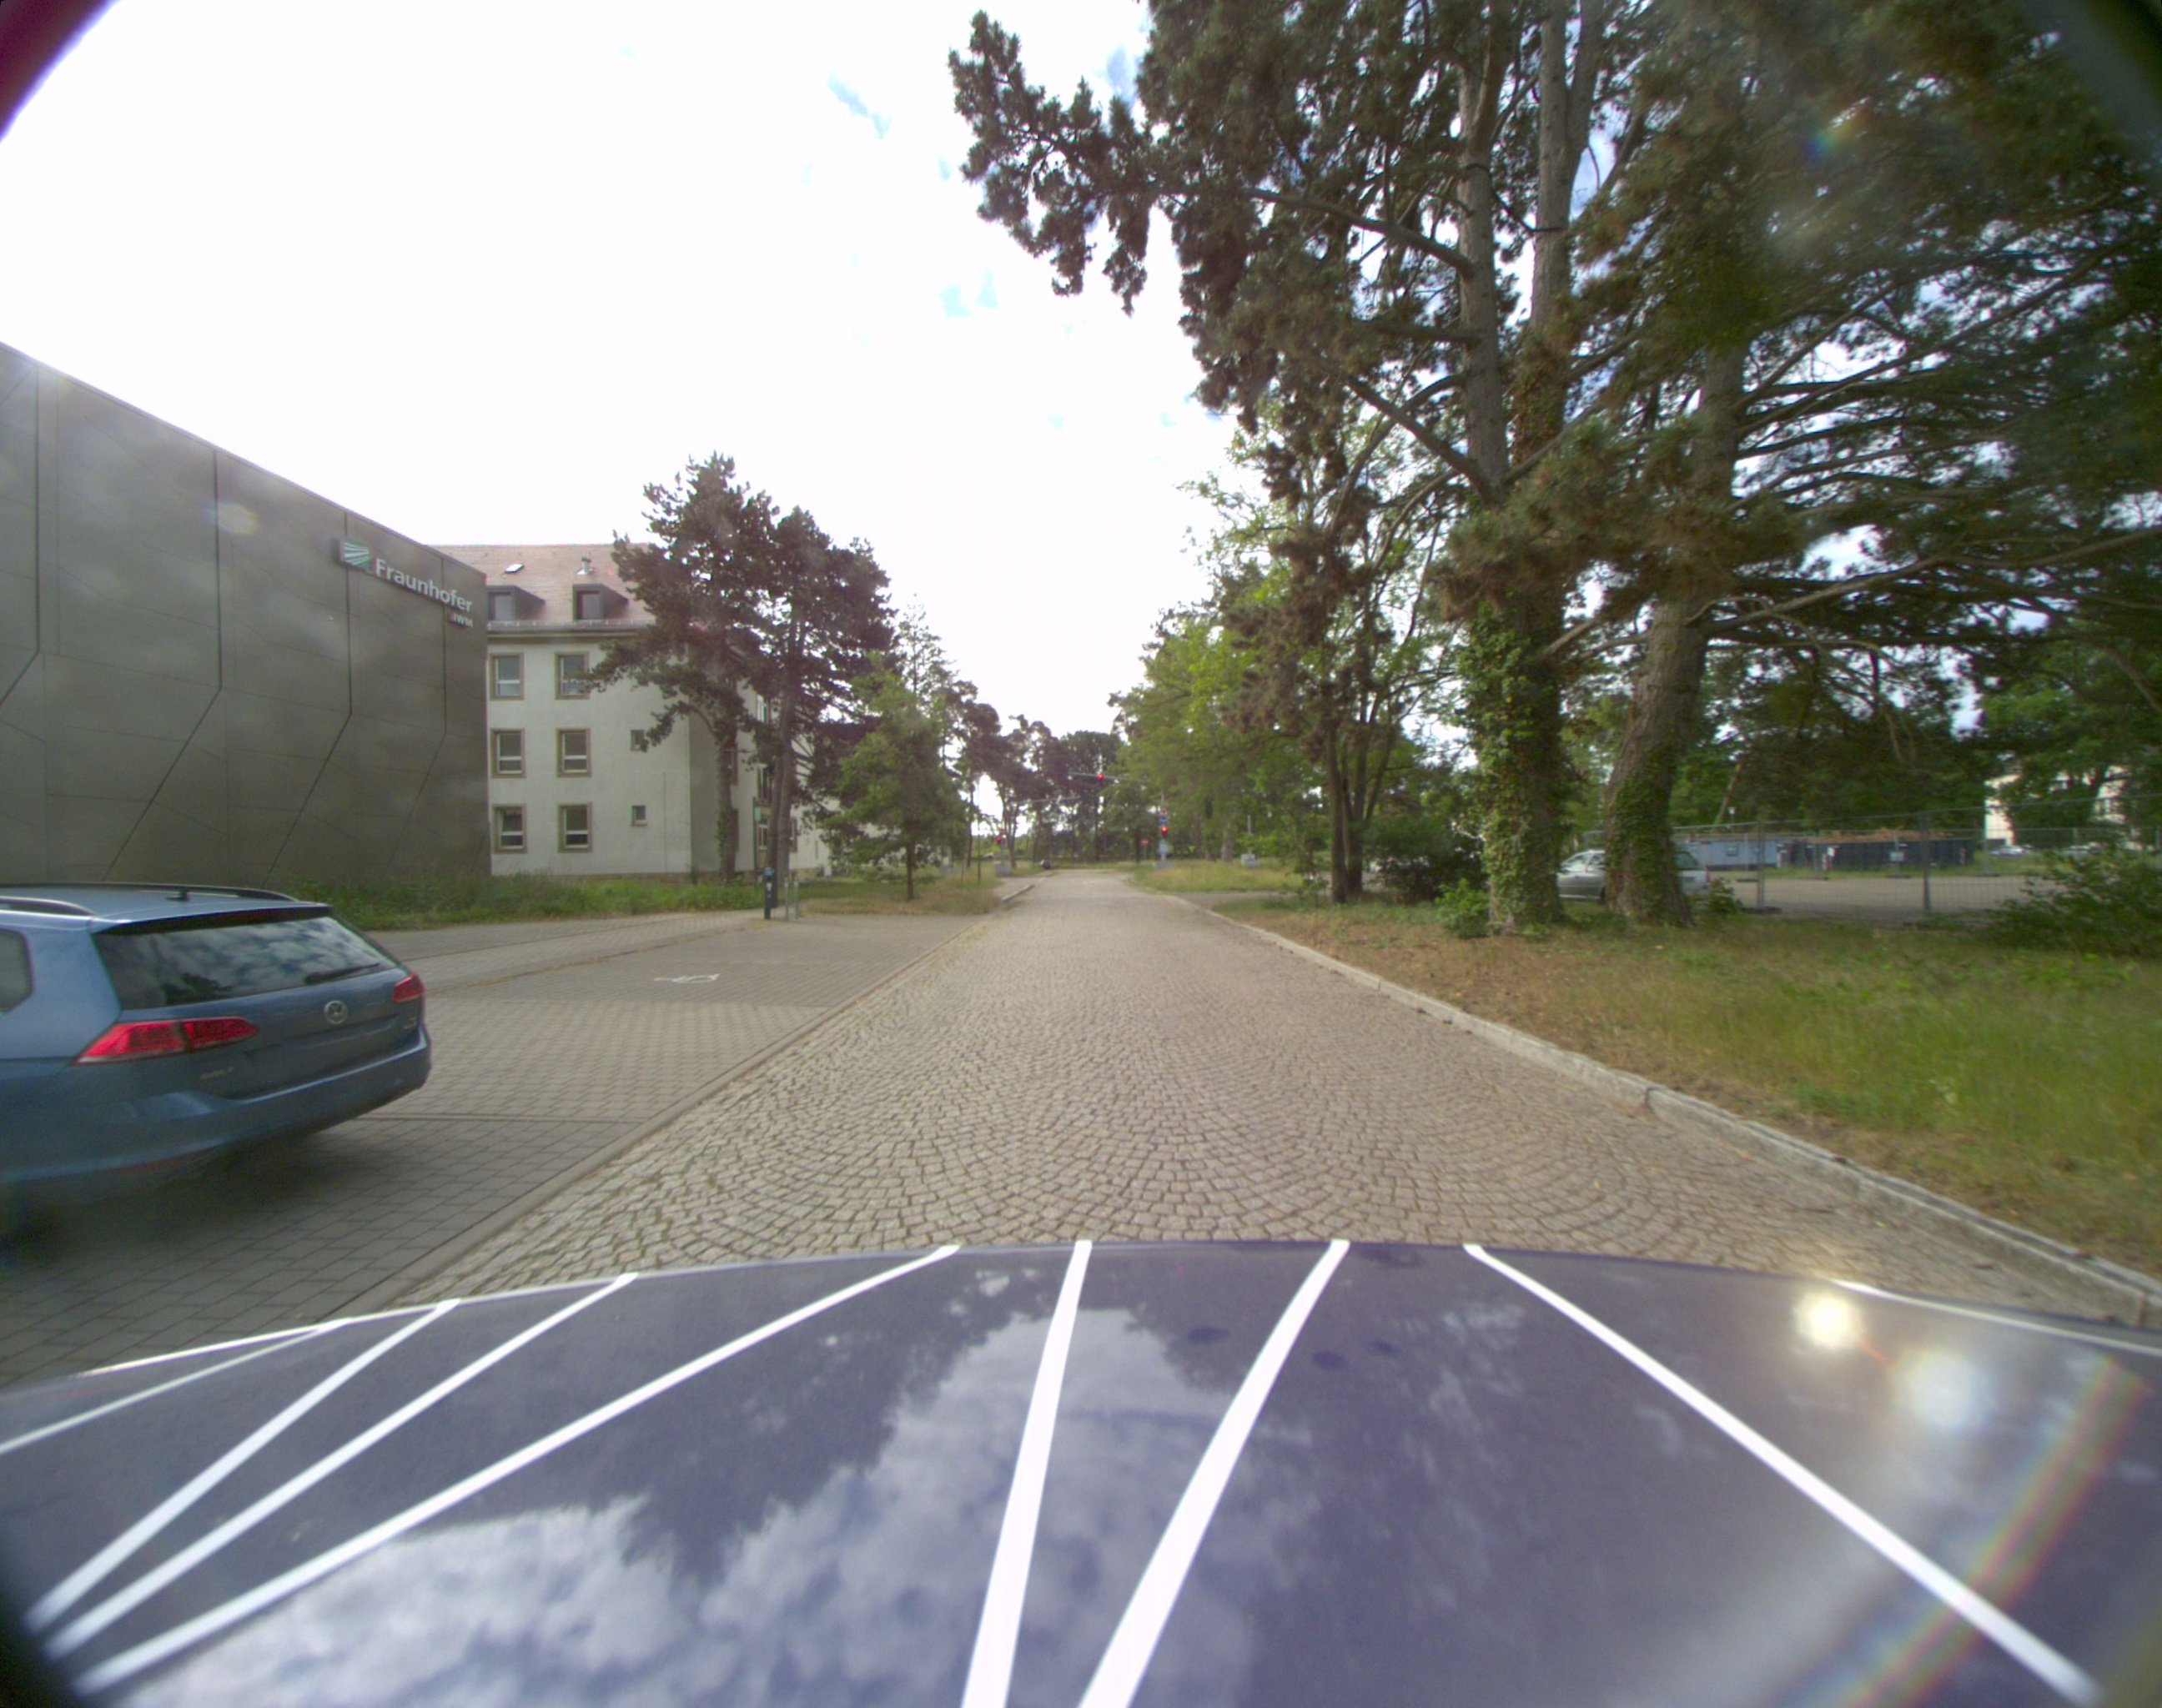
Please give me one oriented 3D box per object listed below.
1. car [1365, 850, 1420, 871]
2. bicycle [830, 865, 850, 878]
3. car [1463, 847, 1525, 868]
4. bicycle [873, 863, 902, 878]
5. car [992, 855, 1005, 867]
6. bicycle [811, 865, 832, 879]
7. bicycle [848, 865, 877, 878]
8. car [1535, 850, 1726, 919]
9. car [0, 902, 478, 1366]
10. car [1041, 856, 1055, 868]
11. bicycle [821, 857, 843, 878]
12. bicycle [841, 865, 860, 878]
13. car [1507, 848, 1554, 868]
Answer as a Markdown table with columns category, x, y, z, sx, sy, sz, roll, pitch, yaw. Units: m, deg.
| category | x | y | z | sx | sy | sz | roll | pitch | yaw |
| --- | --- | --- | --- | --- | --- | --- | --- | --- | --- |
| car | 22.631 | 0.465 | 55.387 | 1.999 | 1.441 | 4.451 | -1 | 0 | -3 |
| bicycle | -19.904 | 1.441 | 62.790 | 0.800 | 1.051 | 2.199 | -1 | 0 | 3 |
| car | 30.600 | 0.256 | 56.513 | 1.999 | 1.441 | 4.451 | -1 | 0 | -3 |
| bicycle | -15.677 | 1.334 | 61.660 | 2.165 | 1.088 | 0.717 | -1 | 0 | -4 |
| car | -12.832 | 1.045 | 117.923 | 2.000 | 1.777 | 3.998 | -1 | 0 | -6 |
| bicycle | -21.513 | 1.478 | 63.030 | 0.800 | 1.051 | 2.199 | -1 | 0 | 3 |
| bicycle | -17.760 | 1.404 | 61.713 | 2.165 | 1.051 | 0.717 | -1 | 0 | -4 |
| car | 12.598 | 0.633 | 17.735 | 1.670 | 1.402 | 3.723 | -1 | 0 | -2 |
| car | -5.868 | 1.010 | 3.508 | 4.537 | 1.441 | 1.931 | 1 | 0 | -2 |
| car | -5.159 | 1.264 | 119.007 | 2.000 | 1.777 | 3.998 | -1 | 0 | -6 |
| bicycle | -20.671 | 1.120 | 63.119 | 0.905 | 1.721 | 2.199 | -1 | 0 | 3 |
| bicycle | -19.054 | 1.423 | 62.783 | 0.800 | 1.051 | 2.166 | -1 | 0 | 3 |
| car | 39.428 | 0.306 | 66.676 | 1.611 | 1.674 | 3.803 | -1 | 0 | -5 |
